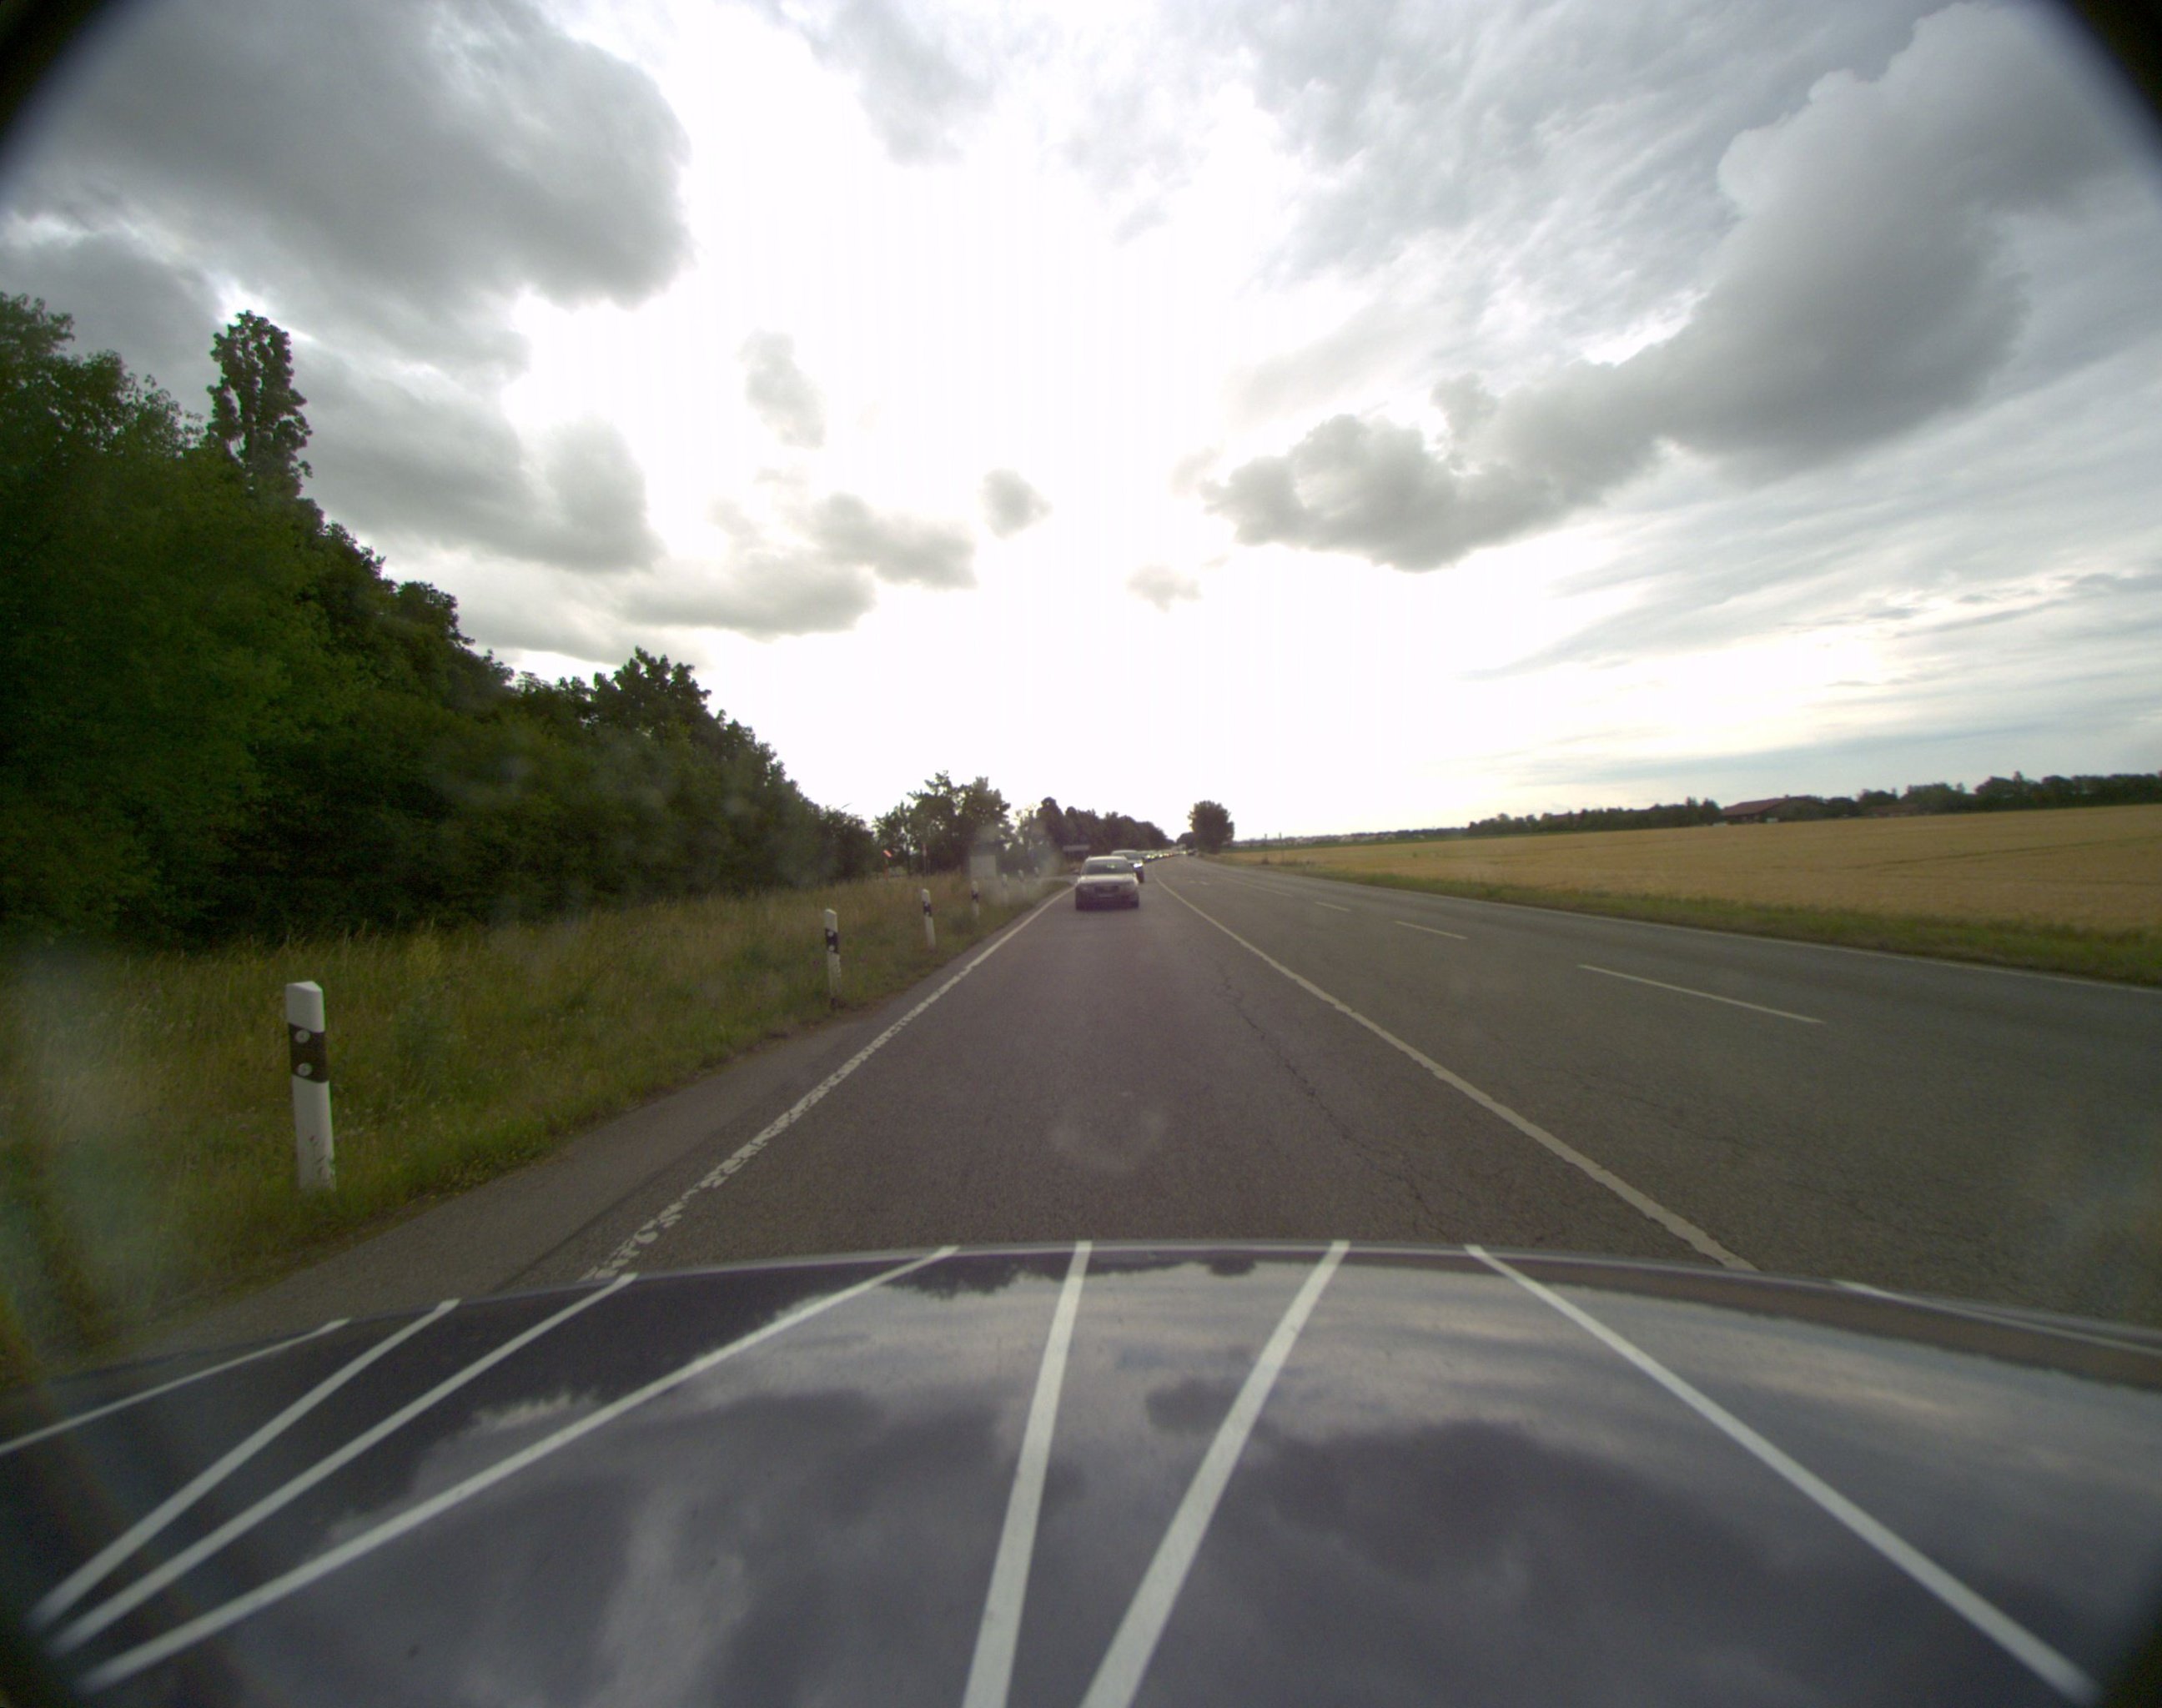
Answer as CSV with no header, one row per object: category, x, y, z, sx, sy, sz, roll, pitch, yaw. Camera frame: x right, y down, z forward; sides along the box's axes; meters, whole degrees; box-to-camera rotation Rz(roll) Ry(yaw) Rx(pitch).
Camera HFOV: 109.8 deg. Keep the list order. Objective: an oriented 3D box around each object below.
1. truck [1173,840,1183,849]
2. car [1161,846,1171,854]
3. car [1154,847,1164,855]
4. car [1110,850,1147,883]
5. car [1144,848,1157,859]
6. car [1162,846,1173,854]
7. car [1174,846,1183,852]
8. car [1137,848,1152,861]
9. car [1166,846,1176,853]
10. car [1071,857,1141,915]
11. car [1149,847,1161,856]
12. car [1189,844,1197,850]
truck,29.392,-2.901,229.996,2.318,2.749,7.679,-3,1,12
car,18.224,-0.792,162.366,1.792,1.573,4.140,-2,0,12
car,15.486,-0.554,150.559,1.792,1.573,4.139,-2,0,9
car,2.458,0.595,39.841,1.793,1.573,4.368,-2,0,3
car,10.228,-0.116,111.576,1.793,1.573,4.189,-2,0,7
car,19.313,-0.875,169.734,1.953,1.573,4.140,-2,0,13
car,26.294,-1.252,204.908,1.792,1.531,4.141,-2,0,14
car,8.479,0.056,101.895,1.793,1.573,4.369,-2,0,7
car,21.247,-1.074,179.707,1.792,1.573,4.140,-2,0,13
car,0.760,0.836,22.055,1.793,1.415,4.368,-2,0,3
car,13.547,-0.514,138.522,1.792,1.573,4.139,-2,0,9
car,28.709,-1.848,194.433,1.830,1.402,4.427,-2,1,12
